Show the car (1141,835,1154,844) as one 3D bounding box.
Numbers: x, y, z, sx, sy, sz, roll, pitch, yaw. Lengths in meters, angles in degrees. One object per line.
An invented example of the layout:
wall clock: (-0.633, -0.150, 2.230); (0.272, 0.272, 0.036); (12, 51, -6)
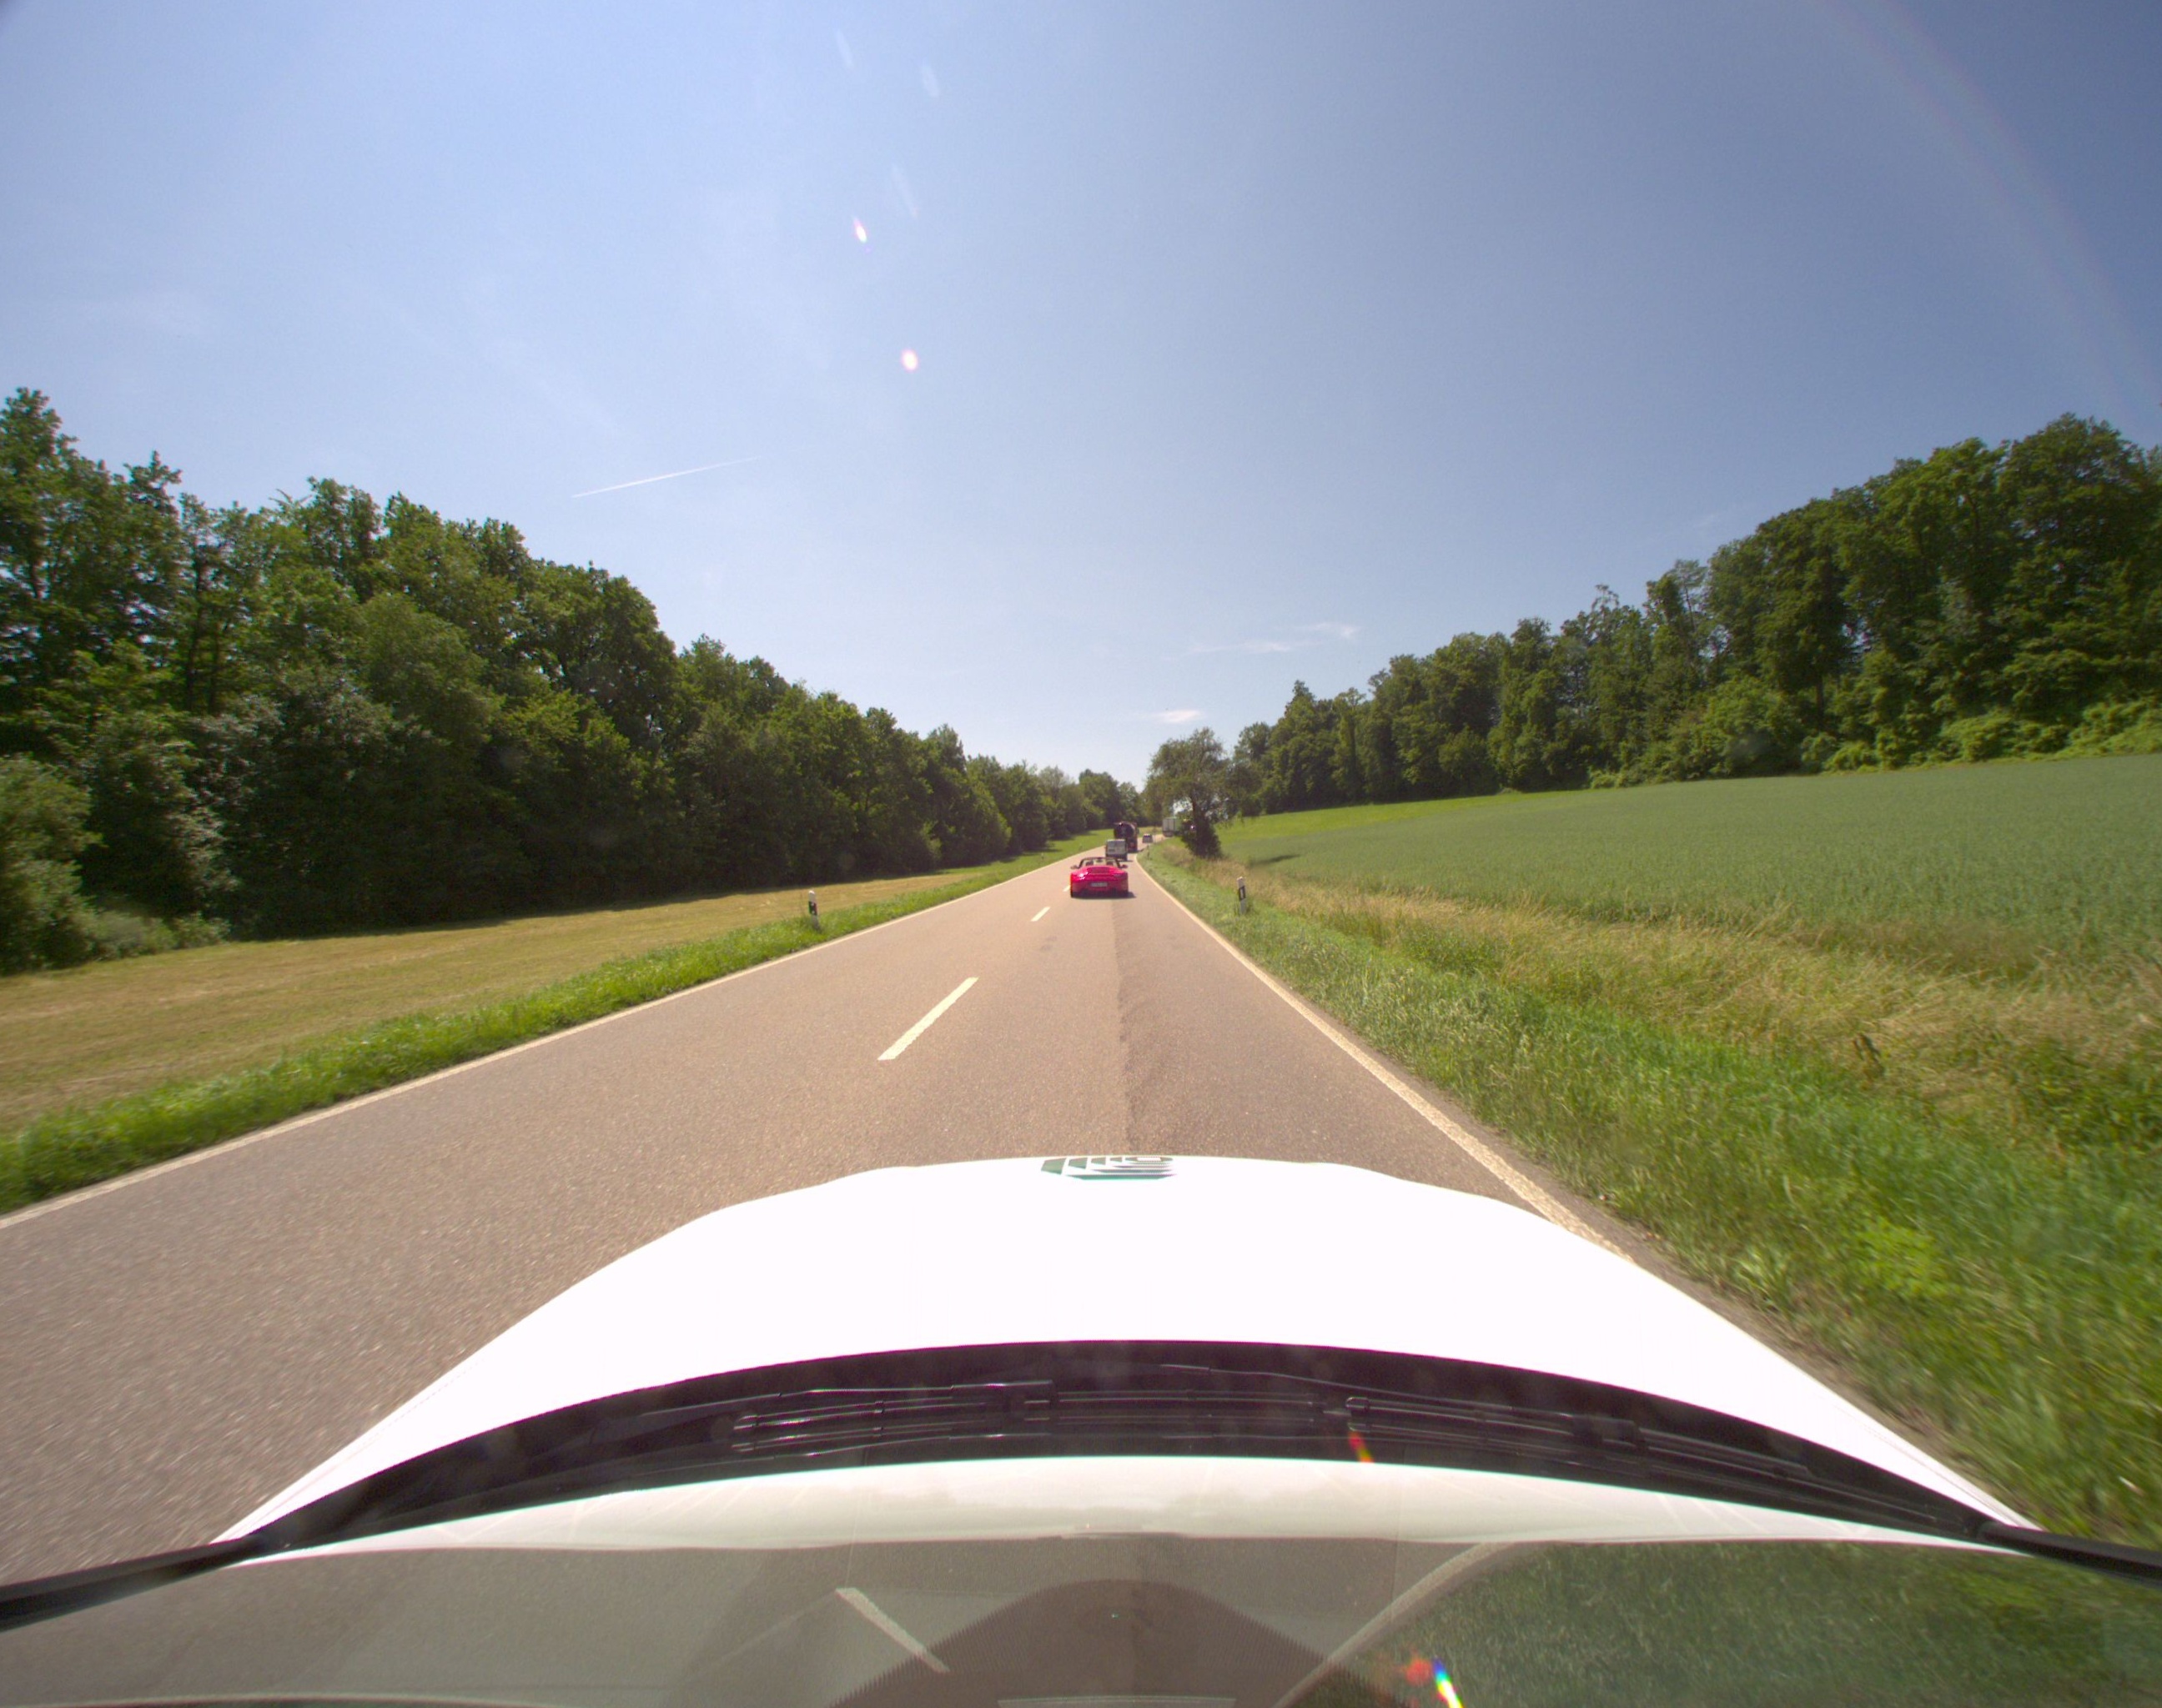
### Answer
car: (11.887, -2.641, 145.173); (1.818, 1.513, 4.206); (-1, 2, 12)

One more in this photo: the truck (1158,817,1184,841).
truck: (19.809, -5.575, 177.985); (3.699, 4.659, 12.078); (-4, 2, 14)

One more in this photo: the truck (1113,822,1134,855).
truck: (5.603, -1.943, 107.032); (2.394, 4.049, 12.561); (-1, 0, 3)

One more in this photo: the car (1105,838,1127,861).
car: (3.096, -0.422, 71.401); (1.670, 1.900, 4.016); (-1, 1, 6)

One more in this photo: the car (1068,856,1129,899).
car: (0.602, 0.714, 27.064); (1.875, 1.255, 4.011); (-1, 0, 2)
